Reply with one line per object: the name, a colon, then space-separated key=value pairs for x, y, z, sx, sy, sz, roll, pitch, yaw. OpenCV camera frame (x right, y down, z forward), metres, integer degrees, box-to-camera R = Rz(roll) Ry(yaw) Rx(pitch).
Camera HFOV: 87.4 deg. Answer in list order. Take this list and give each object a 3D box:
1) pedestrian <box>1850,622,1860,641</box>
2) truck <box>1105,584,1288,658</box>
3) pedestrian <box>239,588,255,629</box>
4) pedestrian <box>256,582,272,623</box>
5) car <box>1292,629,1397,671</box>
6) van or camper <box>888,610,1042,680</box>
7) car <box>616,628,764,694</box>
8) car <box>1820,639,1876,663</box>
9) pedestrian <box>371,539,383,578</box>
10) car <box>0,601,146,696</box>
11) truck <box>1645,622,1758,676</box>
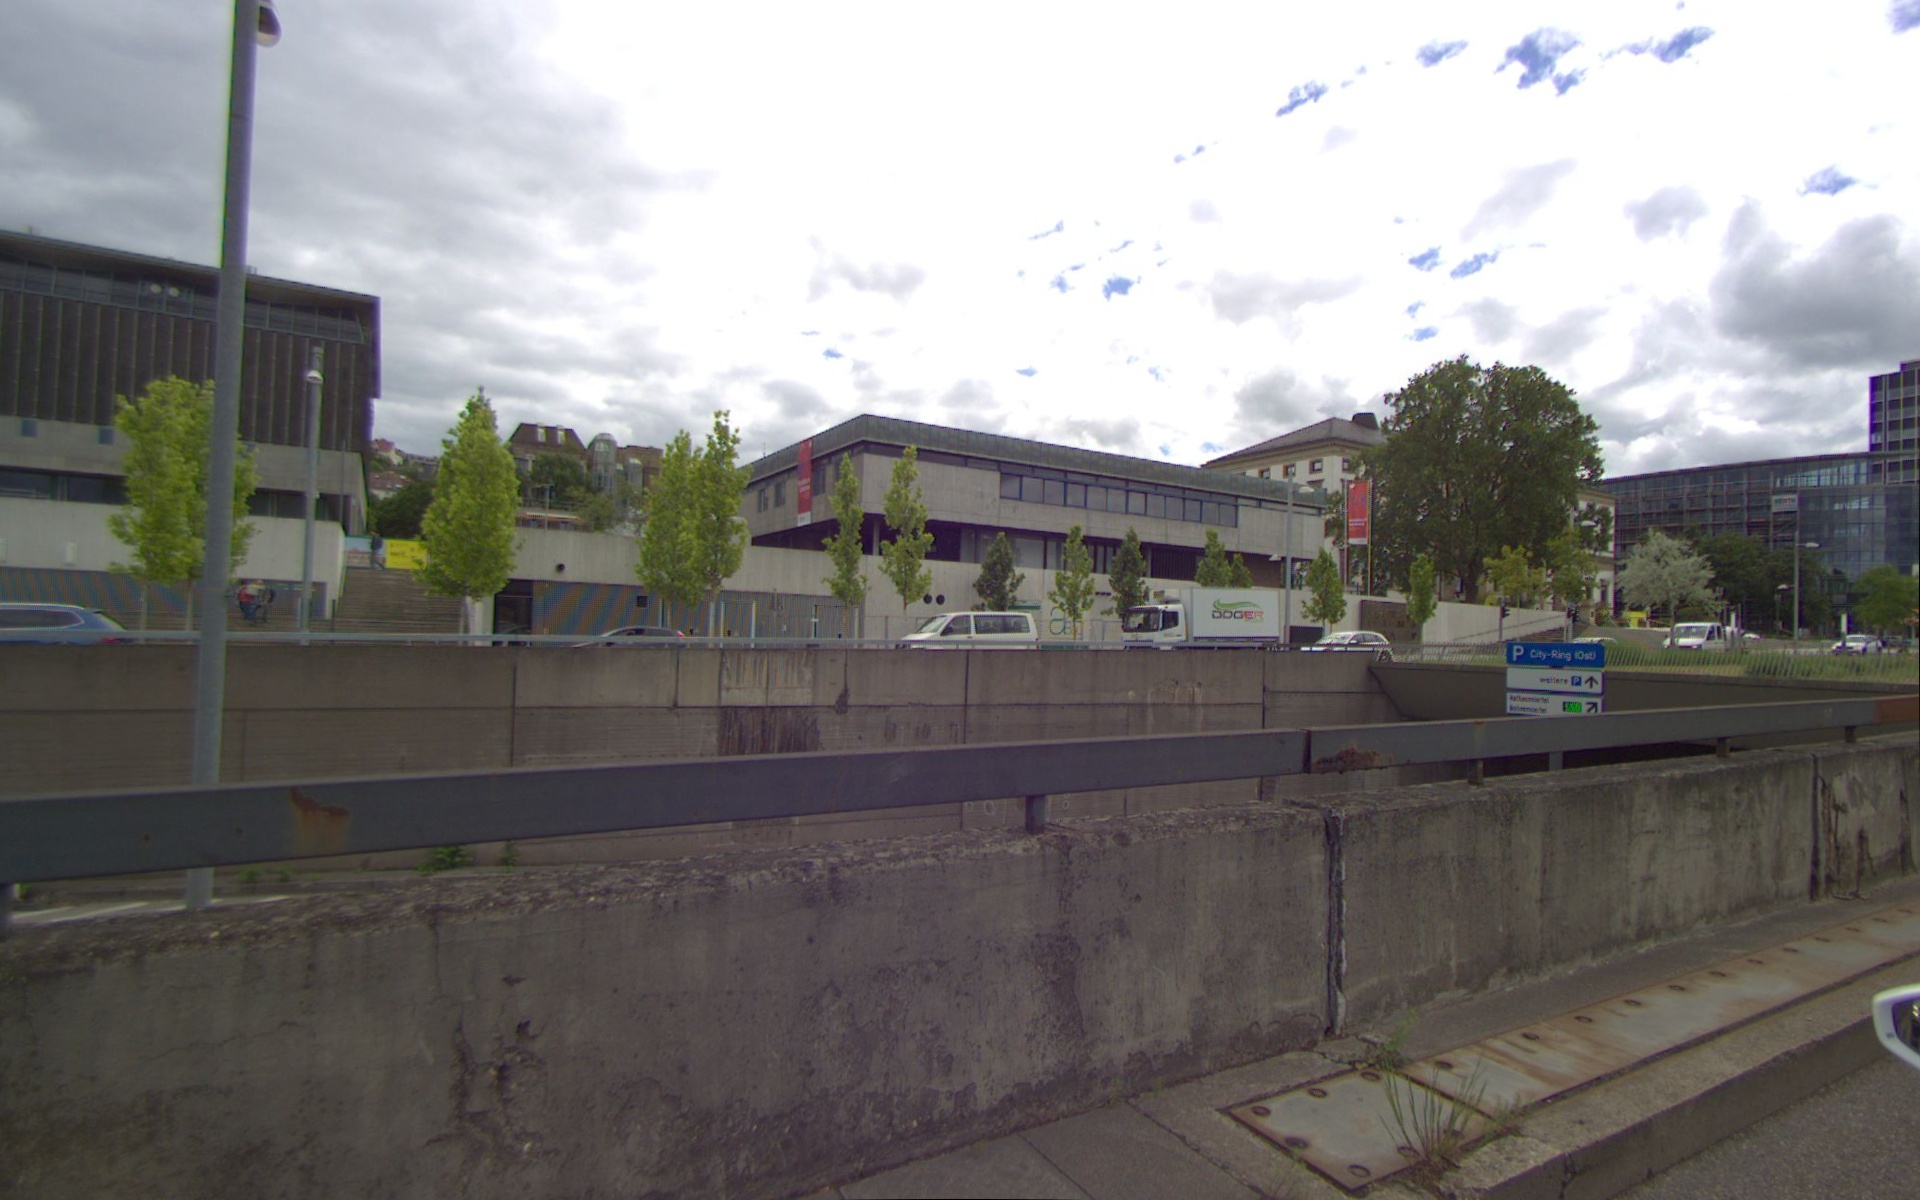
pedestrian: x=82.942 y=2.915 z=93.079 sx=0.643 sy=1.671 sz=0.521 roll=2 pitch=0 yaw=-31
truck: x=9.843 y=0.861 z=41.700 sx=7.166 sy=2.825 sz=3.216 roll=1 pitch=0 yaw=-30
pedestrian: x=-27.169 y=0.315 z=38.253 sx=0.457 sy=1.542 sz=0.377 roll=2 pitch=0 yaw=-36
pedestrian: x=-26.340 y=0.104 z=38.036 sx=0.457 sy=1.542 sz=0.377 roll=2 pitch=0 yaw=-36
car: x=15.628 y=2.000 z=40.763 sx=4.218 sy=1.595 sz=1.711 roll=1 pitch=0 yaw=-29
van or camper: x=0.179 y=1.357 z=31.625 sx=4.503 sy=2.040 sz=1.984 roll=1 pitch=0 yaw=-30
car: x=-8.144 y=1.774 z=30.371 sx=3.953 sy=1.840 sz=1.984 roll=1 pitch=0 yaw=-30
car: x=65.909 y=3.770 z=74.542 sx=4.556 sy=1.595 sz=1.711 roll=1 pitch=0 yaw=-29
pedestrian: x=-28.396 y=-2.028 z=48.914 sx=0.457 sy=1.891 sz=0.377 roll=2 pitch=0 yaw=-36
car: x=-19.214 y=0.944 z=20.335 sx=3.953 sy=1.840 sz=1.984 roll=1 pitch=0 yaw=-30
truck: x=41.800 y=2.695 z=56.563 sx=6.991 sy=2.854 sz=2.453 roll=1 pitch=0 yaw=-29
